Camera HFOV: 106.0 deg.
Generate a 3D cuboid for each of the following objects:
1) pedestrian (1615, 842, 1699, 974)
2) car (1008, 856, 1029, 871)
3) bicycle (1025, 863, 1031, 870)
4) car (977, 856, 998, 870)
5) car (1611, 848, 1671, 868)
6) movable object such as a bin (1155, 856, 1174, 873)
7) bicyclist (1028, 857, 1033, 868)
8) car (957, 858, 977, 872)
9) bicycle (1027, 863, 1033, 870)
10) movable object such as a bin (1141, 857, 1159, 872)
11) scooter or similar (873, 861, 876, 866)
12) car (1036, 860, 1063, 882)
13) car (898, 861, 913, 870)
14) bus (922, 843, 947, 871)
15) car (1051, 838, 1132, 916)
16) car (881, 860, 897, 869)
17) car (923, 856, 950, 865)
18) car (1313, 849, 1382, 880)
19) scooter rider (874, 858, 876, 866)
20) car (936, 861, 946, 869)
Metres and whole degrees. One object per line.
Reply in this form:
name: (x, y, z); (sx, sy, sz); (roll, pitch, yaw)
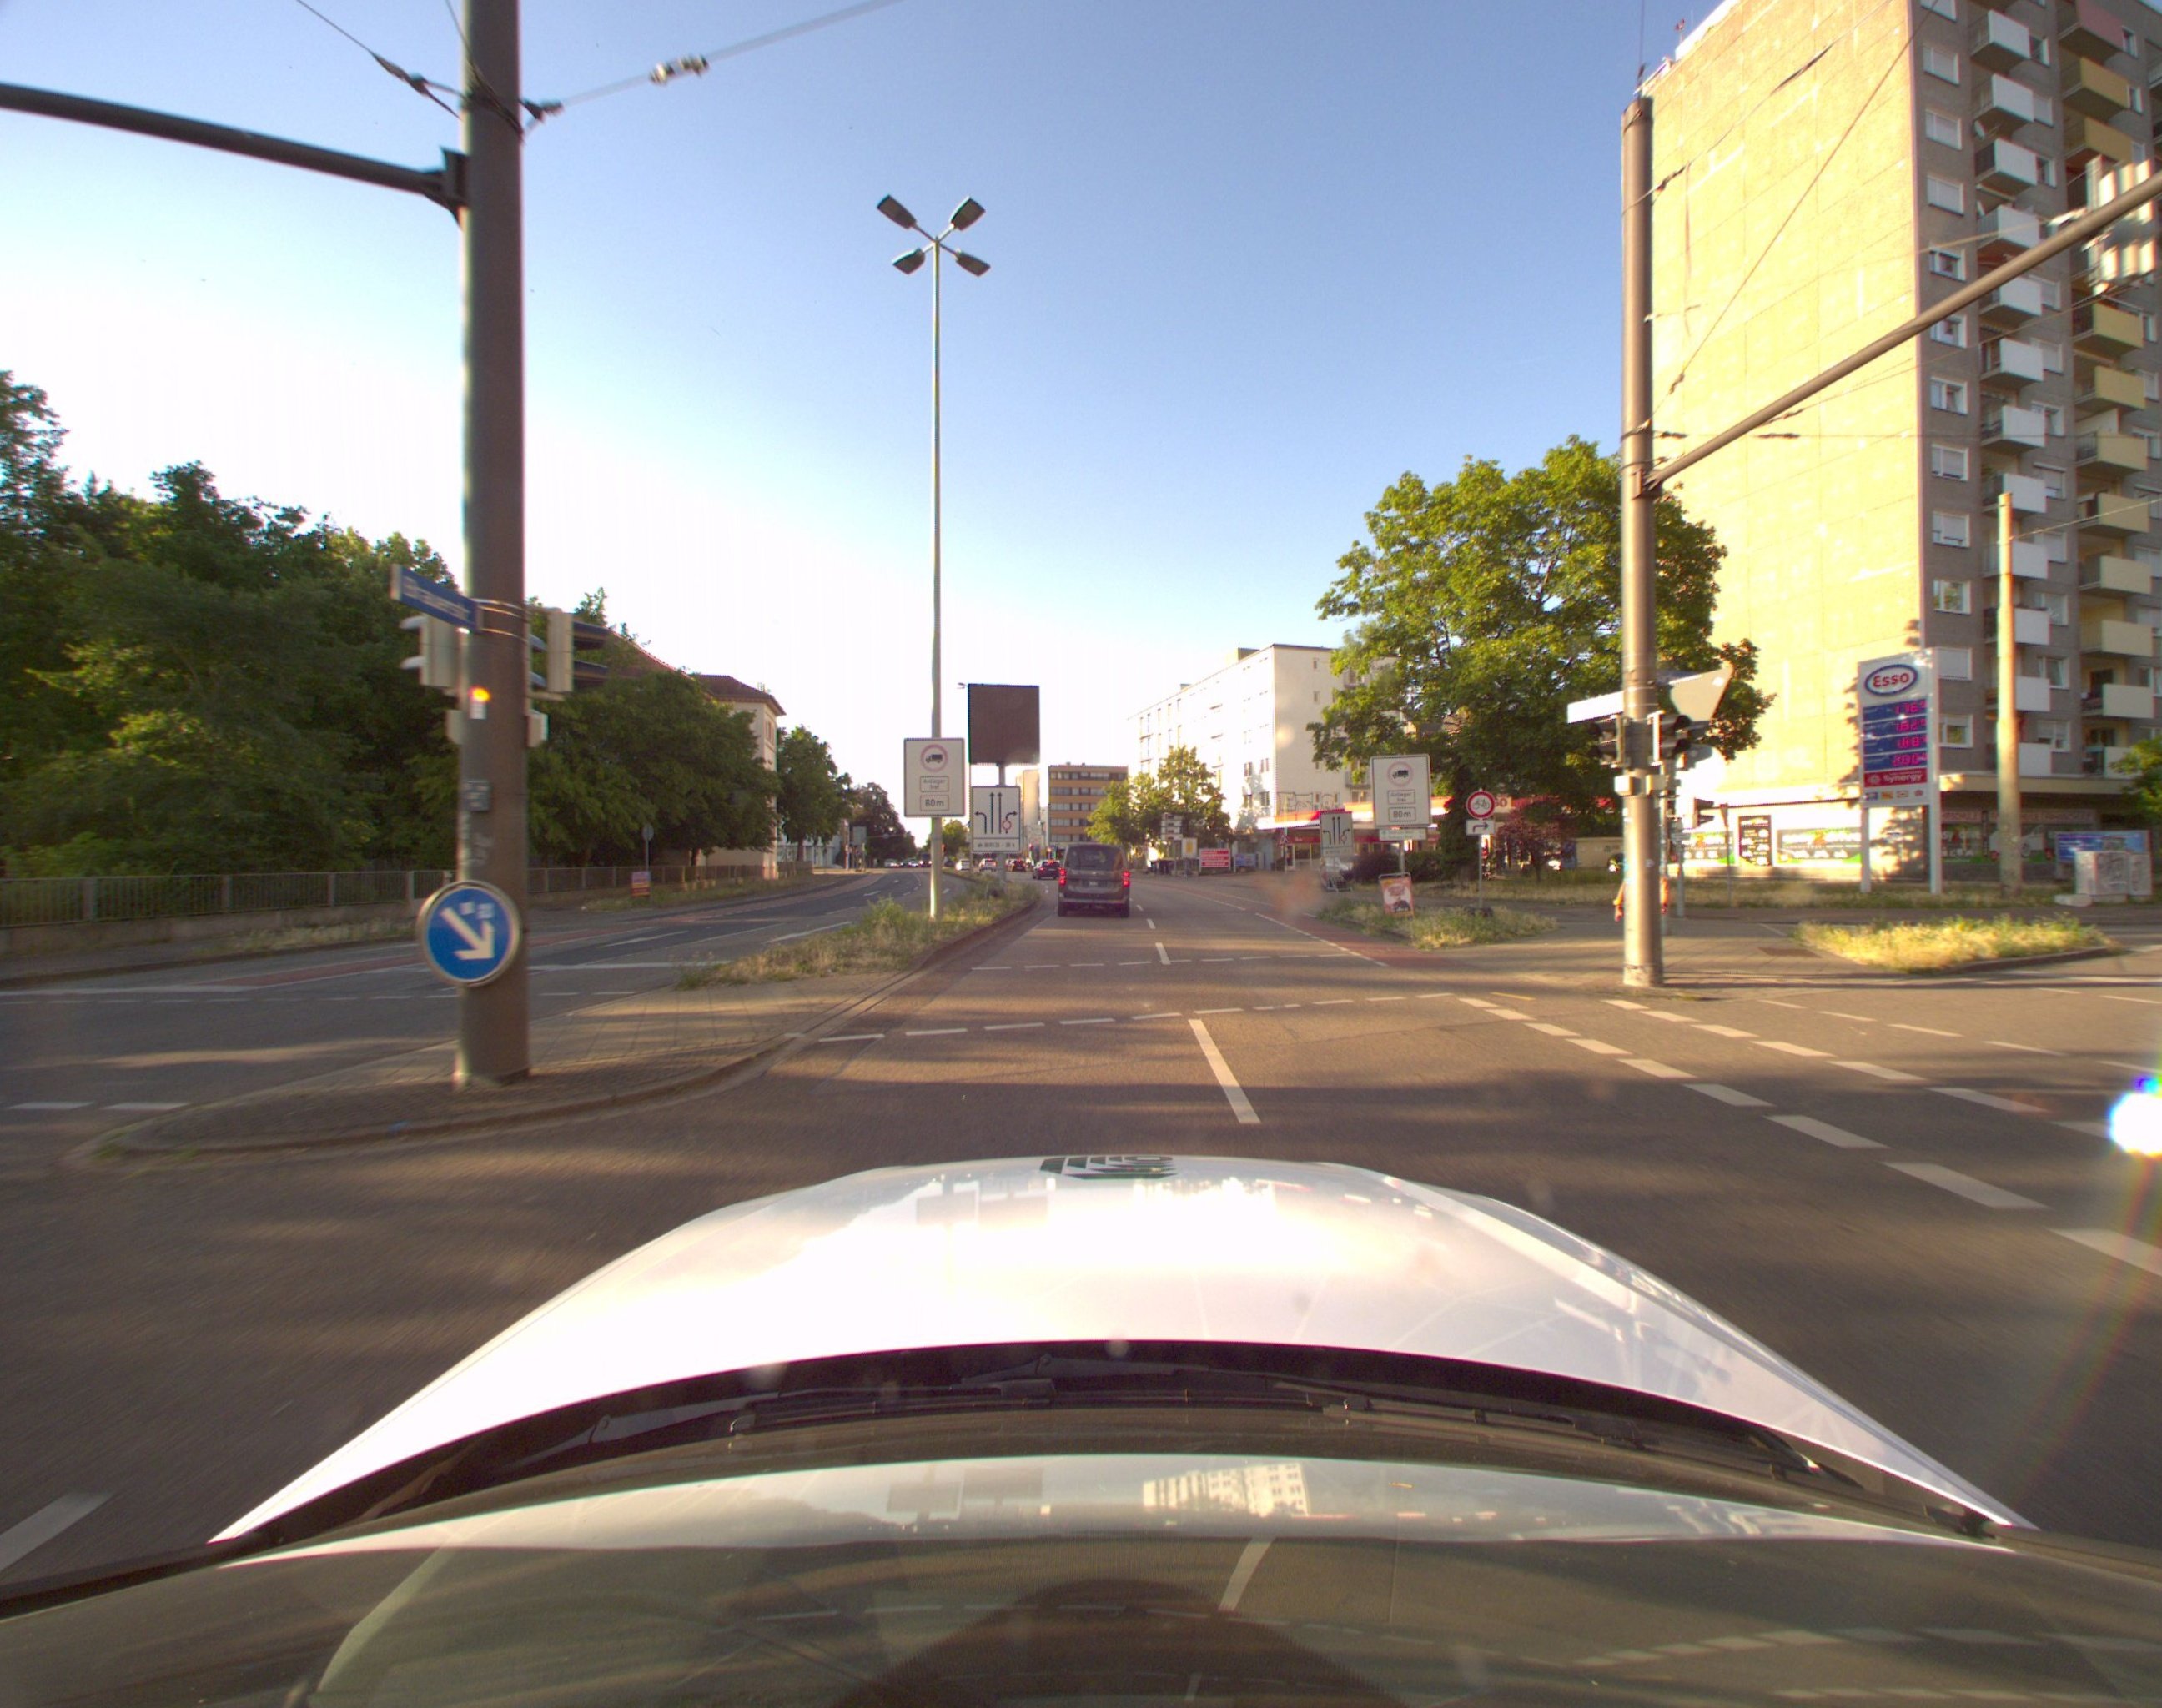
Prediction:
pedestrian: (7.348, 0.667, 10.420); (0.551, 1.629, 0.699); (-1, 0, -3)
car: (-7.390, 1.079, 95.913); (1.994, 1.656, 4.283); (-1, 0, -10)
bicycle: (-6.732, 1.548, 103.461); (0.533, 0.847, 1.677); (-1, 0, -11)
car: (-11.515, 1.137, 100.351); (1.997, 1.656, 4.278); (-1, 0, -14)
car: (40.530, 0.283, 59.033); (1.572, 1.381, 3.422); (-1, 0, -13)
movable object such as a bin: (7.576, 0.922, 73.624); (1.459, 1.454, 1.545); (-1, 0, -3)
bicyclist: (-6.322, 1.065, 101.443); (0.541, 1.459, 0.639); (-1, 0, -11)
car: (-13.917, 1.327, 99.227); (1.997, 1.656, 4.278); (-1, 0, -14)
bicycle: (-6.332, 1.532, 101.553); (0.533, 0.847, 1.677); (-1, 0, -11)
movable object such as a bin: (6.502, 0.978, 76.914); (1.459, 1.386, 1.545); (-1, 0, -3)
scooter or similar: (-35.223, 1.656, 139.038); (0.358, 0.896, 0.901); (-1, 0, -11)
car: (-2.309, 1.213, 59.128); (1.842, 1.544, 3.625); (0, 0, -5)
car: (-31.174, 2.010, 144.576); (1.990, 1.595, 3.993); (0, 0, -5)
bus: (-25.266, 0.597, 139.981); (3.295, 4.617, 9.949); (1, -1, -15)
car: (0.369, 0.584, 22.376); (1.985, 1.901, 4.302); (1, 0, 3)
car: (-33.845, 1.887, 143.644); (1.990, 1.595, 3.993); (0, 0, -5)
car: (-24.161, 1.085, 136.082); (4.007, 1.595, 1.983); (0, 0, -25)
car: (13.983, 0.552, 43.034); (1.770, 1.530, 4.341); (0, 0, -8)
scooter rider: (-35.226, 1.364, 139.056); (0.355, 1.373, 0.336); (-1, -1, -11)
car: (-30.903, 2.467, 179.627); (1.853, 1.708, 3.704); (-1, 0, -16)
